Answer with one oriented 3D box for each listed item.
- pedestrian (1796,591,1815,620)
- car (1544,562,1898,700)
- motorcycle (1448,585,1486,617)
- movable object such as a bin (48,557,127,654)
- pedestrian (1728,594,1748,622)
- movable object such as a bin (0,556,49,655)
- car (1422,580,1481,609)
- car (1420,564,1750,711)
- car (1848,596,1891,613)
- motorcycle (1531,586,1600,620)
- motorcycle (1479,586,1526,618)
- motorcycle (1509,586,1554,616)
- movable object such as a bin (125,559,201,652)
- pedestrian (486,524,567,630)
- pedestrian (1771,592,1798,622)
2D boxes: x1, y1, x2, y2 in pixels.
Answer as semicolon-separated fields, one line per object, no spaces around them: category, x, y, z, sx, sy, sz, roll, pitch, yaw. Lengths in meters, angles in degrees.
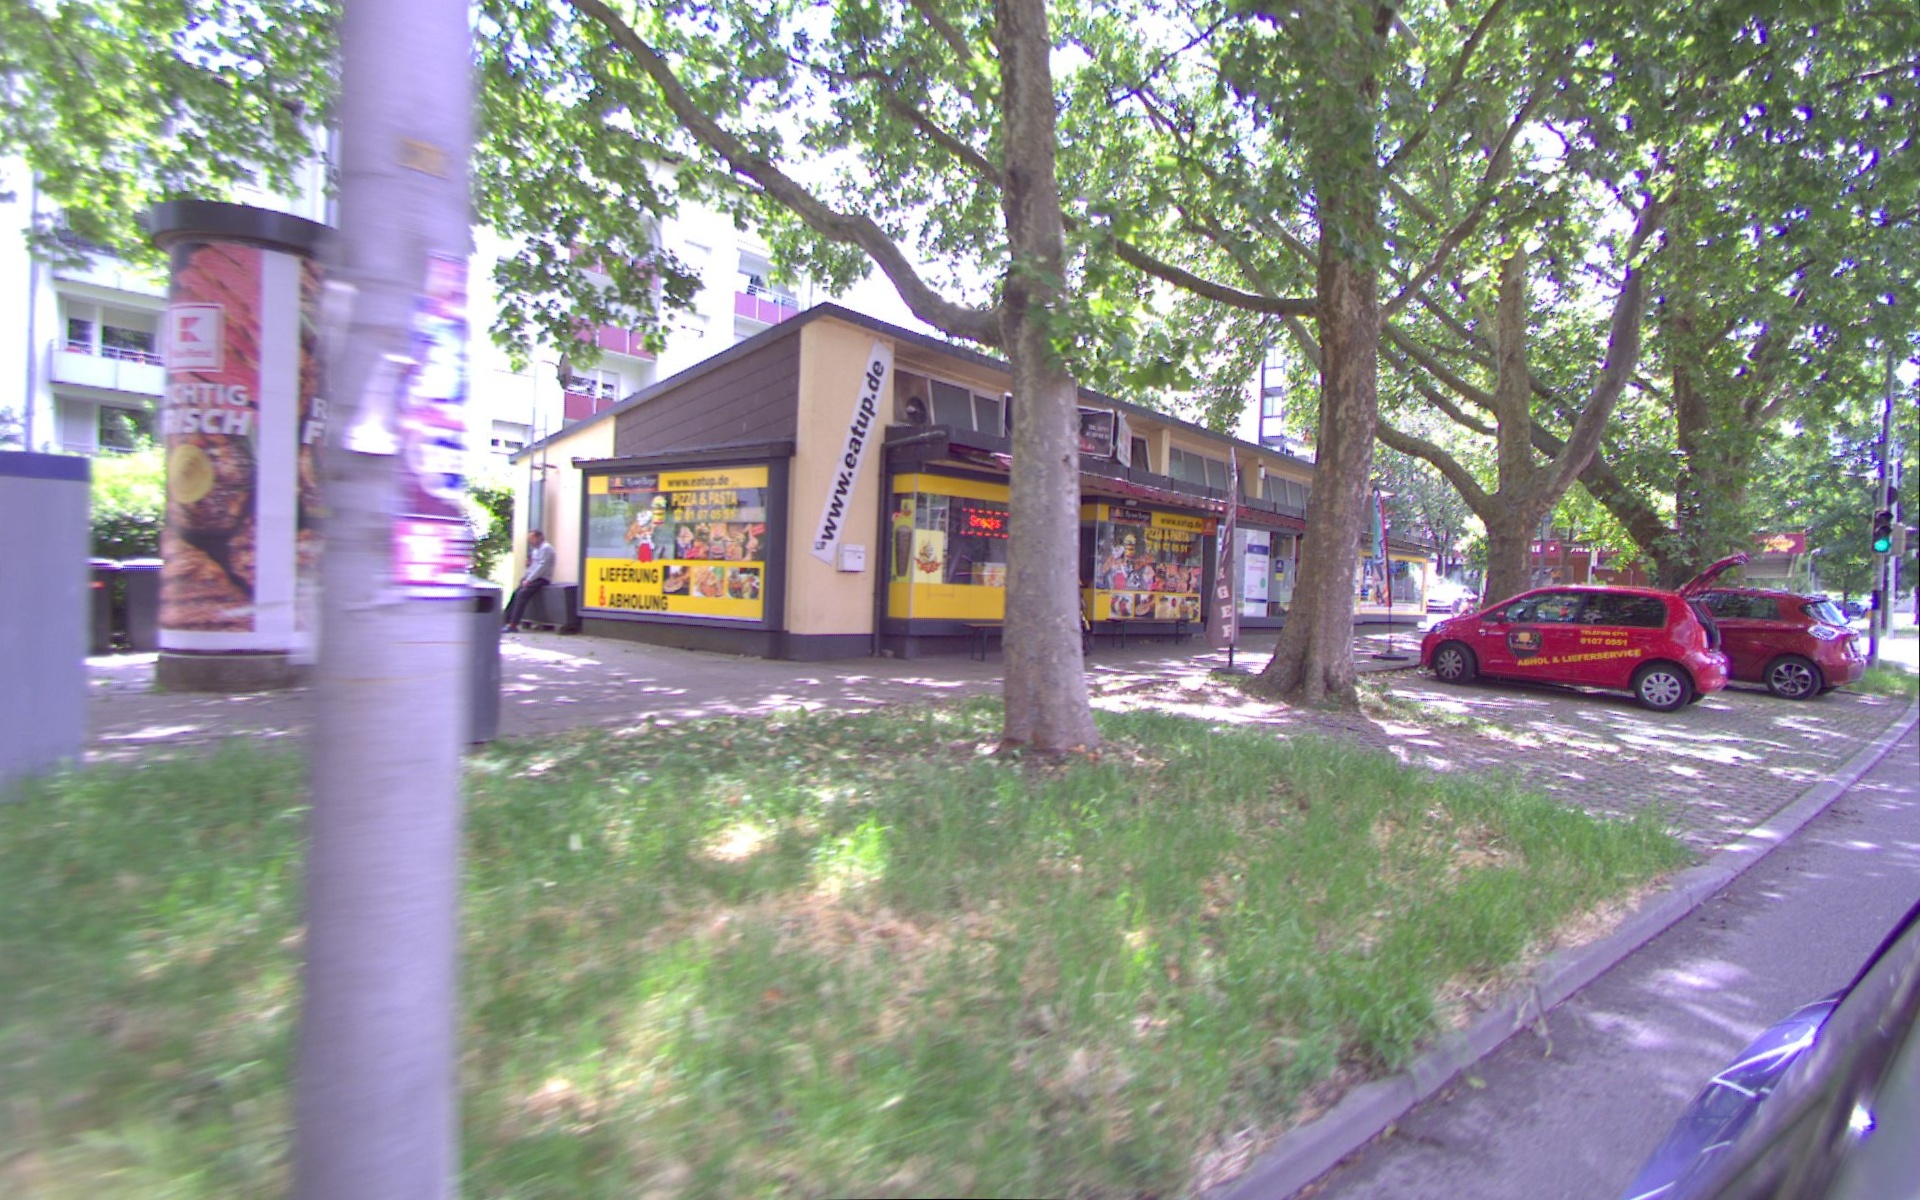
pedestrian;46.111;0.310;55.181;0.643;1.557;0.725;1;1;-45
car;11.759;0.357;15.899;1.699;1.630;4.043;0;5;-38
motorcycle;20.920;0.032;41.767;0.728;1.210;2.134;2;2;8
movable object such as a bin;-9.850;0.049;11.427;0.637;1.046;0.624;0;2;-44
pedestrian;37.325;0.377;48.560;0.671;1.282;0.668;5;3;39
movable object such as a bin;-10.315;0.048;10.967;0.637;1.046;0.624;0;2;-44
car;24.479;-0.273;50.364;1.743;1.359;3.437;2;1;42
car;8.234;0.393;13.515;1.584;1.533;3.411;0;4;-44
car;78.237;0.376;87.117;1.793;1.371;3.961;2;1;28
motorcycle;23.177;0.113;38.786;0.725;1.210;2.140;1;1;-32
motorcycle;21.732;0.071;40.600;0.726;1.210;2.138;2;2;1
motorcycle;23.801;0.025;42.195;0.726;1.210;2.137;2;1;3
movable object such as a bin;-9.391;0.049;11.920;0.637;1.046;0.624;0;2;-44
pedestrian;-6.639;-0.350;15.500;0.749;1.554;0.894;2;1;42
pedestrian;38.027;0.323;46.679;0.661;1.281;0.678;2;5;-37
